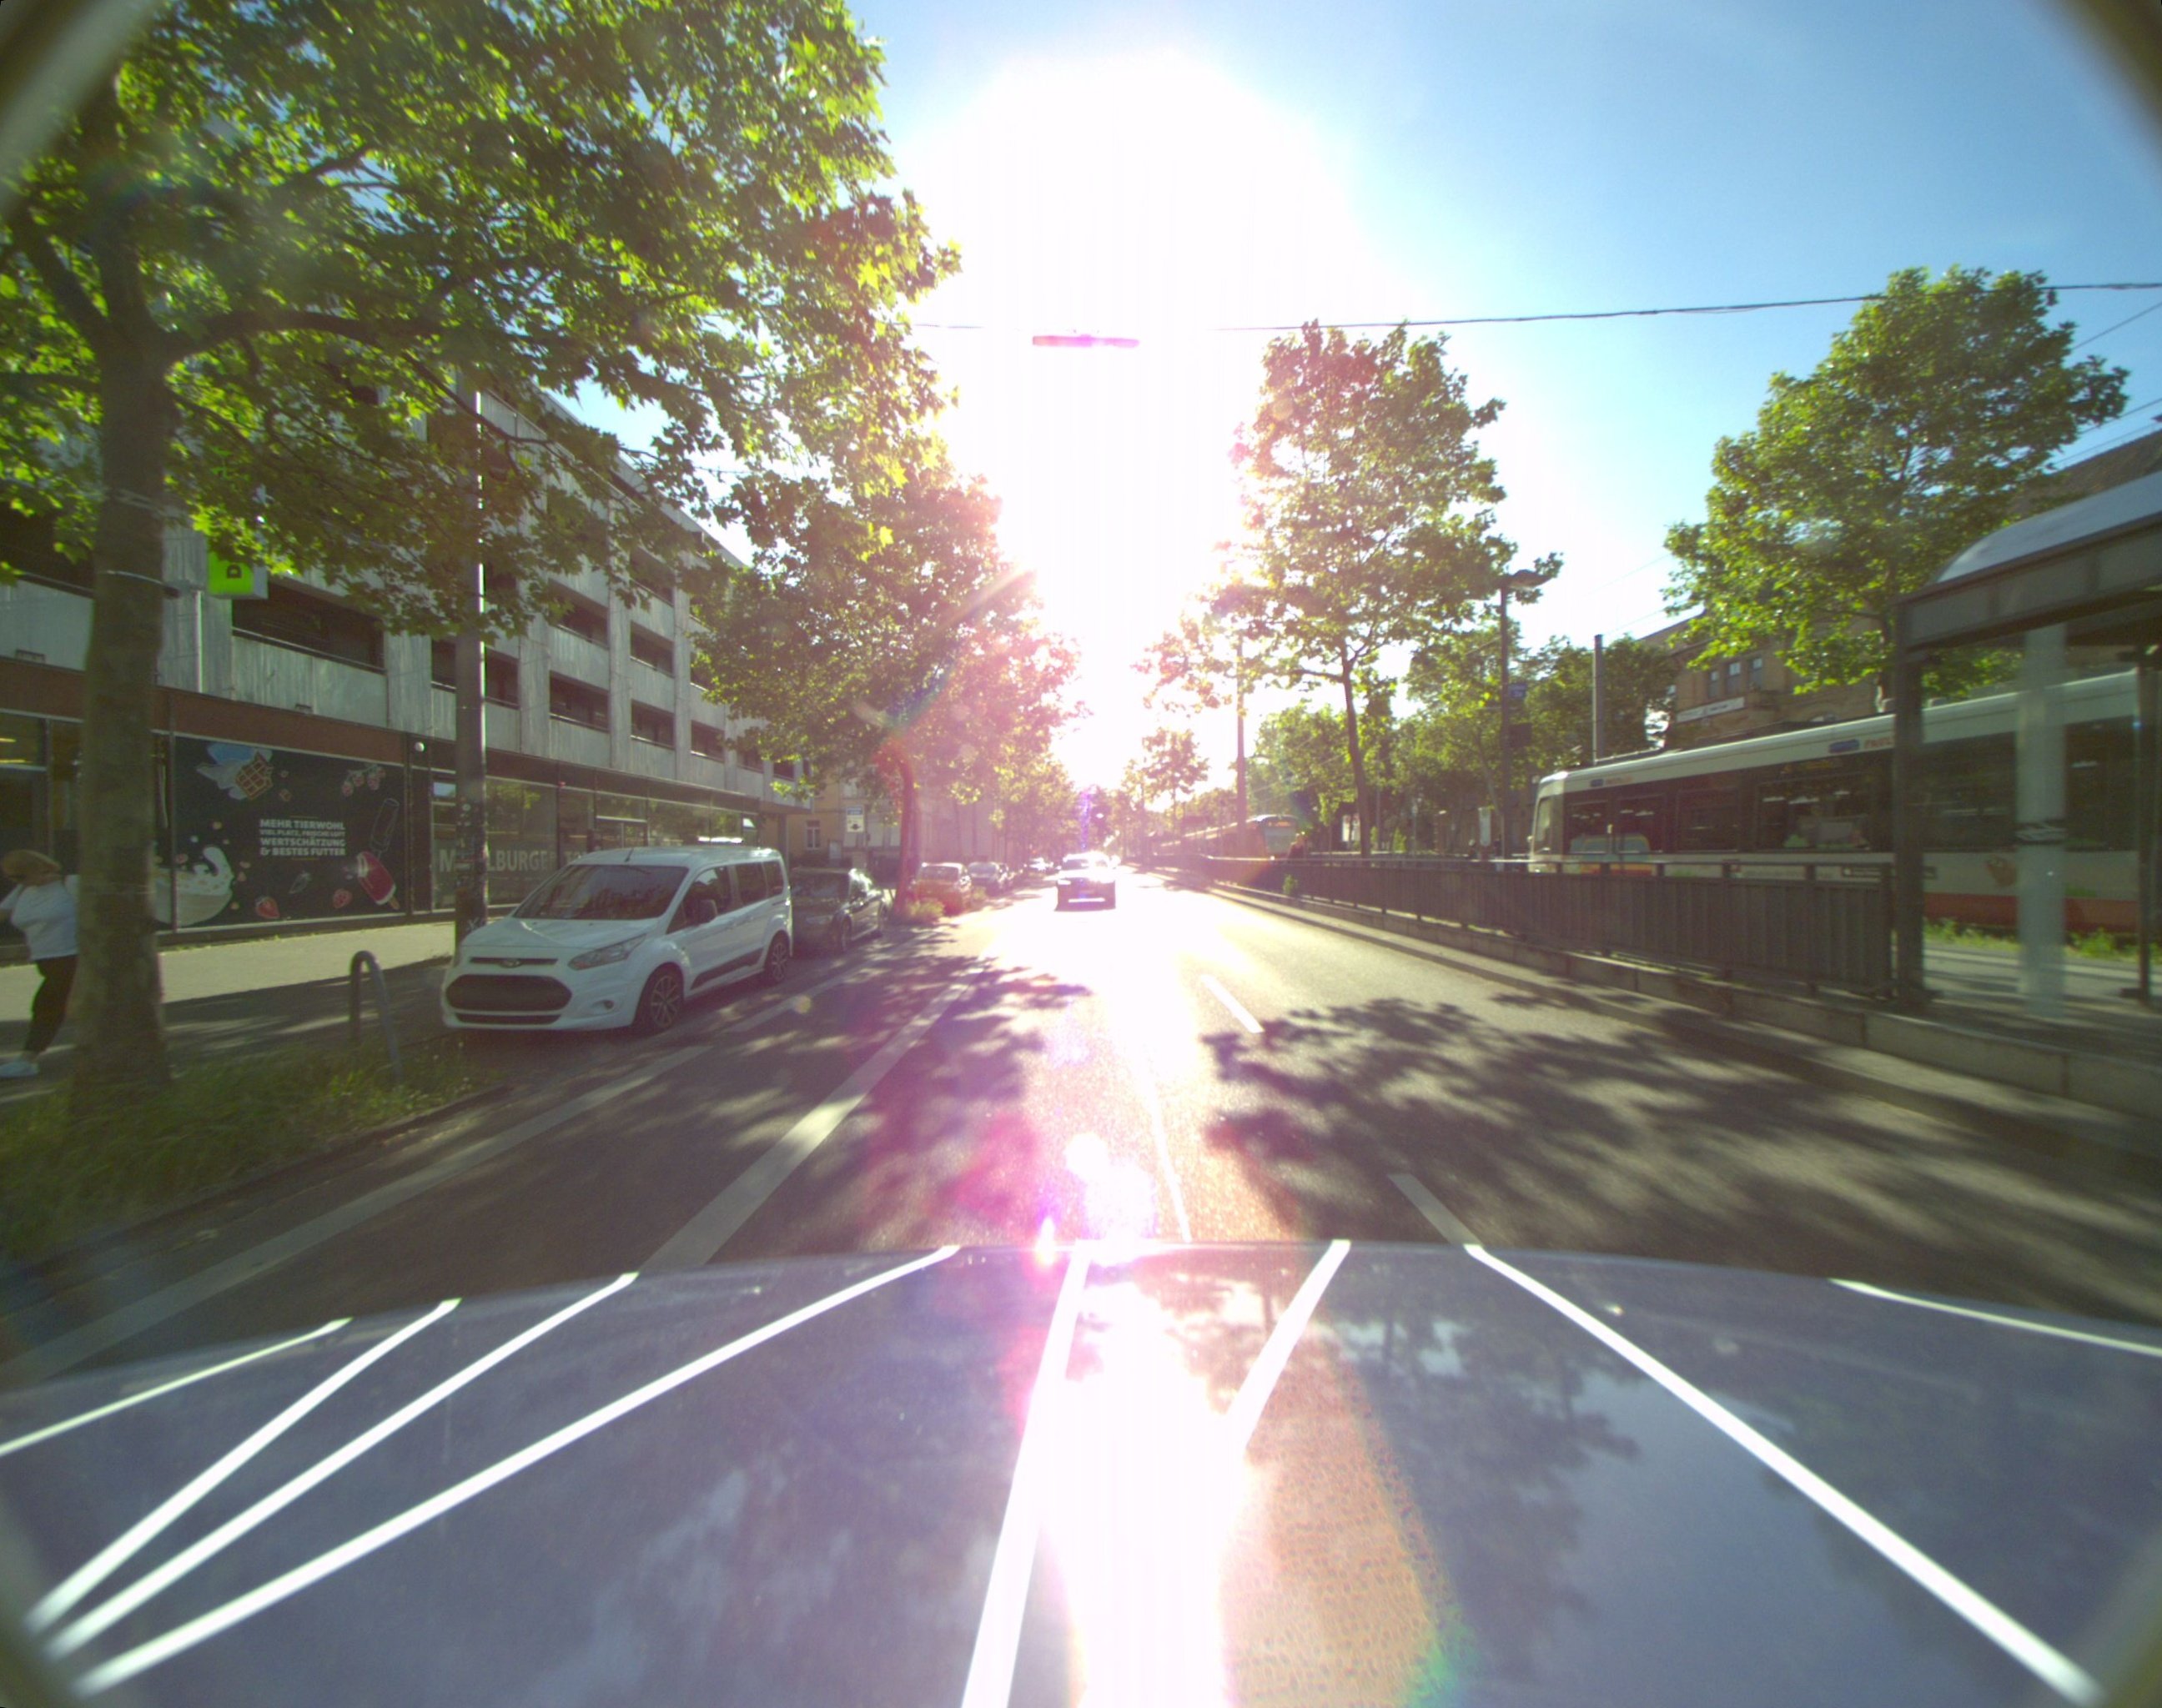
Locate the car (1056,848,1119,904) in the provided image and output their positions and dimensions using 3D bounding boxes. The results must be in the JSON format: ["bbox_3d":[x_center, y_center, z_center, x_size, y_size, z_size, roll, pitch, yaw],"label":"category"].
[{"bbox_3d":[0.223,0.656,25.680,1.914,1.695,4.273,-1,1,1],"label":"car"}]

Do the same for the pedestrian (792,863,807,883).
[{"bbox_3d":[-15.301,1.034,41.342,0.560,1.103,0.684,0,1,1],"label":"pedestrian"}]

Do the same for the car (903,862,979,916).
[{"bbox_3d":[-4.335,1.049,24.035,1.677,1.430,3.689,2,1,0],"label":"car"}]

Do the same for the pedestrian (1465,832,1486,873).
[{"bbox_3d":[17.491,-0.060,33.668,0.625,1.791,0.624,0,1,-42],"label":"pedestrian"}]

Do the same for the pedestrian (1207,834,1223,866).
[{"bbox_3d":[7.094,-0.211,40.305,0.700,1.626,0.761,-1,1,1],"label":"pedestrian"}]

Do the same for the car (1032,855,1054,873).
[{"bbox_3d":[-3.704,1.001,74.938,1.839,1.666,4.273,-1,0,1],"label":"car"}]

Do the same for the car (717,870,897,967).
[{"bbox_3d":[-4.837,1.068,14.107,1.733,1.395,4.295,1,0,0],"label":"car"}]

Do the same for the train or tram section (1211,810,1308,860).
[{"bbox_3d":[10.567,-1.007,47.085,2.569,2.549,15.675,-1,0,1],"label":"train or tram section"}]

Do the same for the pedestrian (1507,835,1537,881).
[{"bbox_3d":[17.330,0.160,29.876,0.676,1.746,0.813,-1,1,-1],"label":"pedestrian"}]

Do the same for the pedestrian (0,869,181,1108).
[{"bbox_3d":[-7.566,0.935,5.652,0.699,1.603,0.868,2,1,3],"label":"pedestrian"}]

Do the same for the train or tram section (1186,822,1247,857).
[{"bbox_3d":[10.855,-1.064,62.473,2.569,2.517,15.073,-1,0,1],"label":"train or tram section"}]

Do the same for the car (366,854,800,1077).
[{"bbox_3d":[-4.809,0.898,8.286,1.768,1.781,4.393,0,0,1],"label":"car"}]

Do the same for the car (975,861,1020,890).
[{"bbox_3d":[-4.296,1.088,39.509,1.781,1.373,4.276,-1,0,1],"label":"car"}]

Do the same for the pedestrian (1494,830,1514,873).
[{"bbox_3d":[17.604,-0.107,31.622,0.624,1.791,0.625,2,1,35],"label":"pedestrian"}]

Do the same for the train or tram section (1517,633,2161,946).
[{"bbox_3d":[13.282,-0.747,11.712,2.878,3.414,18.276,-2,0,1],"label":"train or tram section"}]

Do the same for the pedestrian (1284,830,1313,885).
[{"bbox_3d":[6.757,0.104,23.618,0.683,1.700,0.624,-1,1,0],"label":"pedestrian"}]

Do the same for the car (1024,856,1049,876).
[{"bbox_3d":[-3.810,0.990,65.311,1.839,1.556,4.273,-1,0,1],"label":"car"}]

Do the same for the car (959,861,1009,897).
[{"bbox_3d":[-4.247,1.054,33.776,1.630,1.433,3.930,1,0,1],"label":"car"}]
